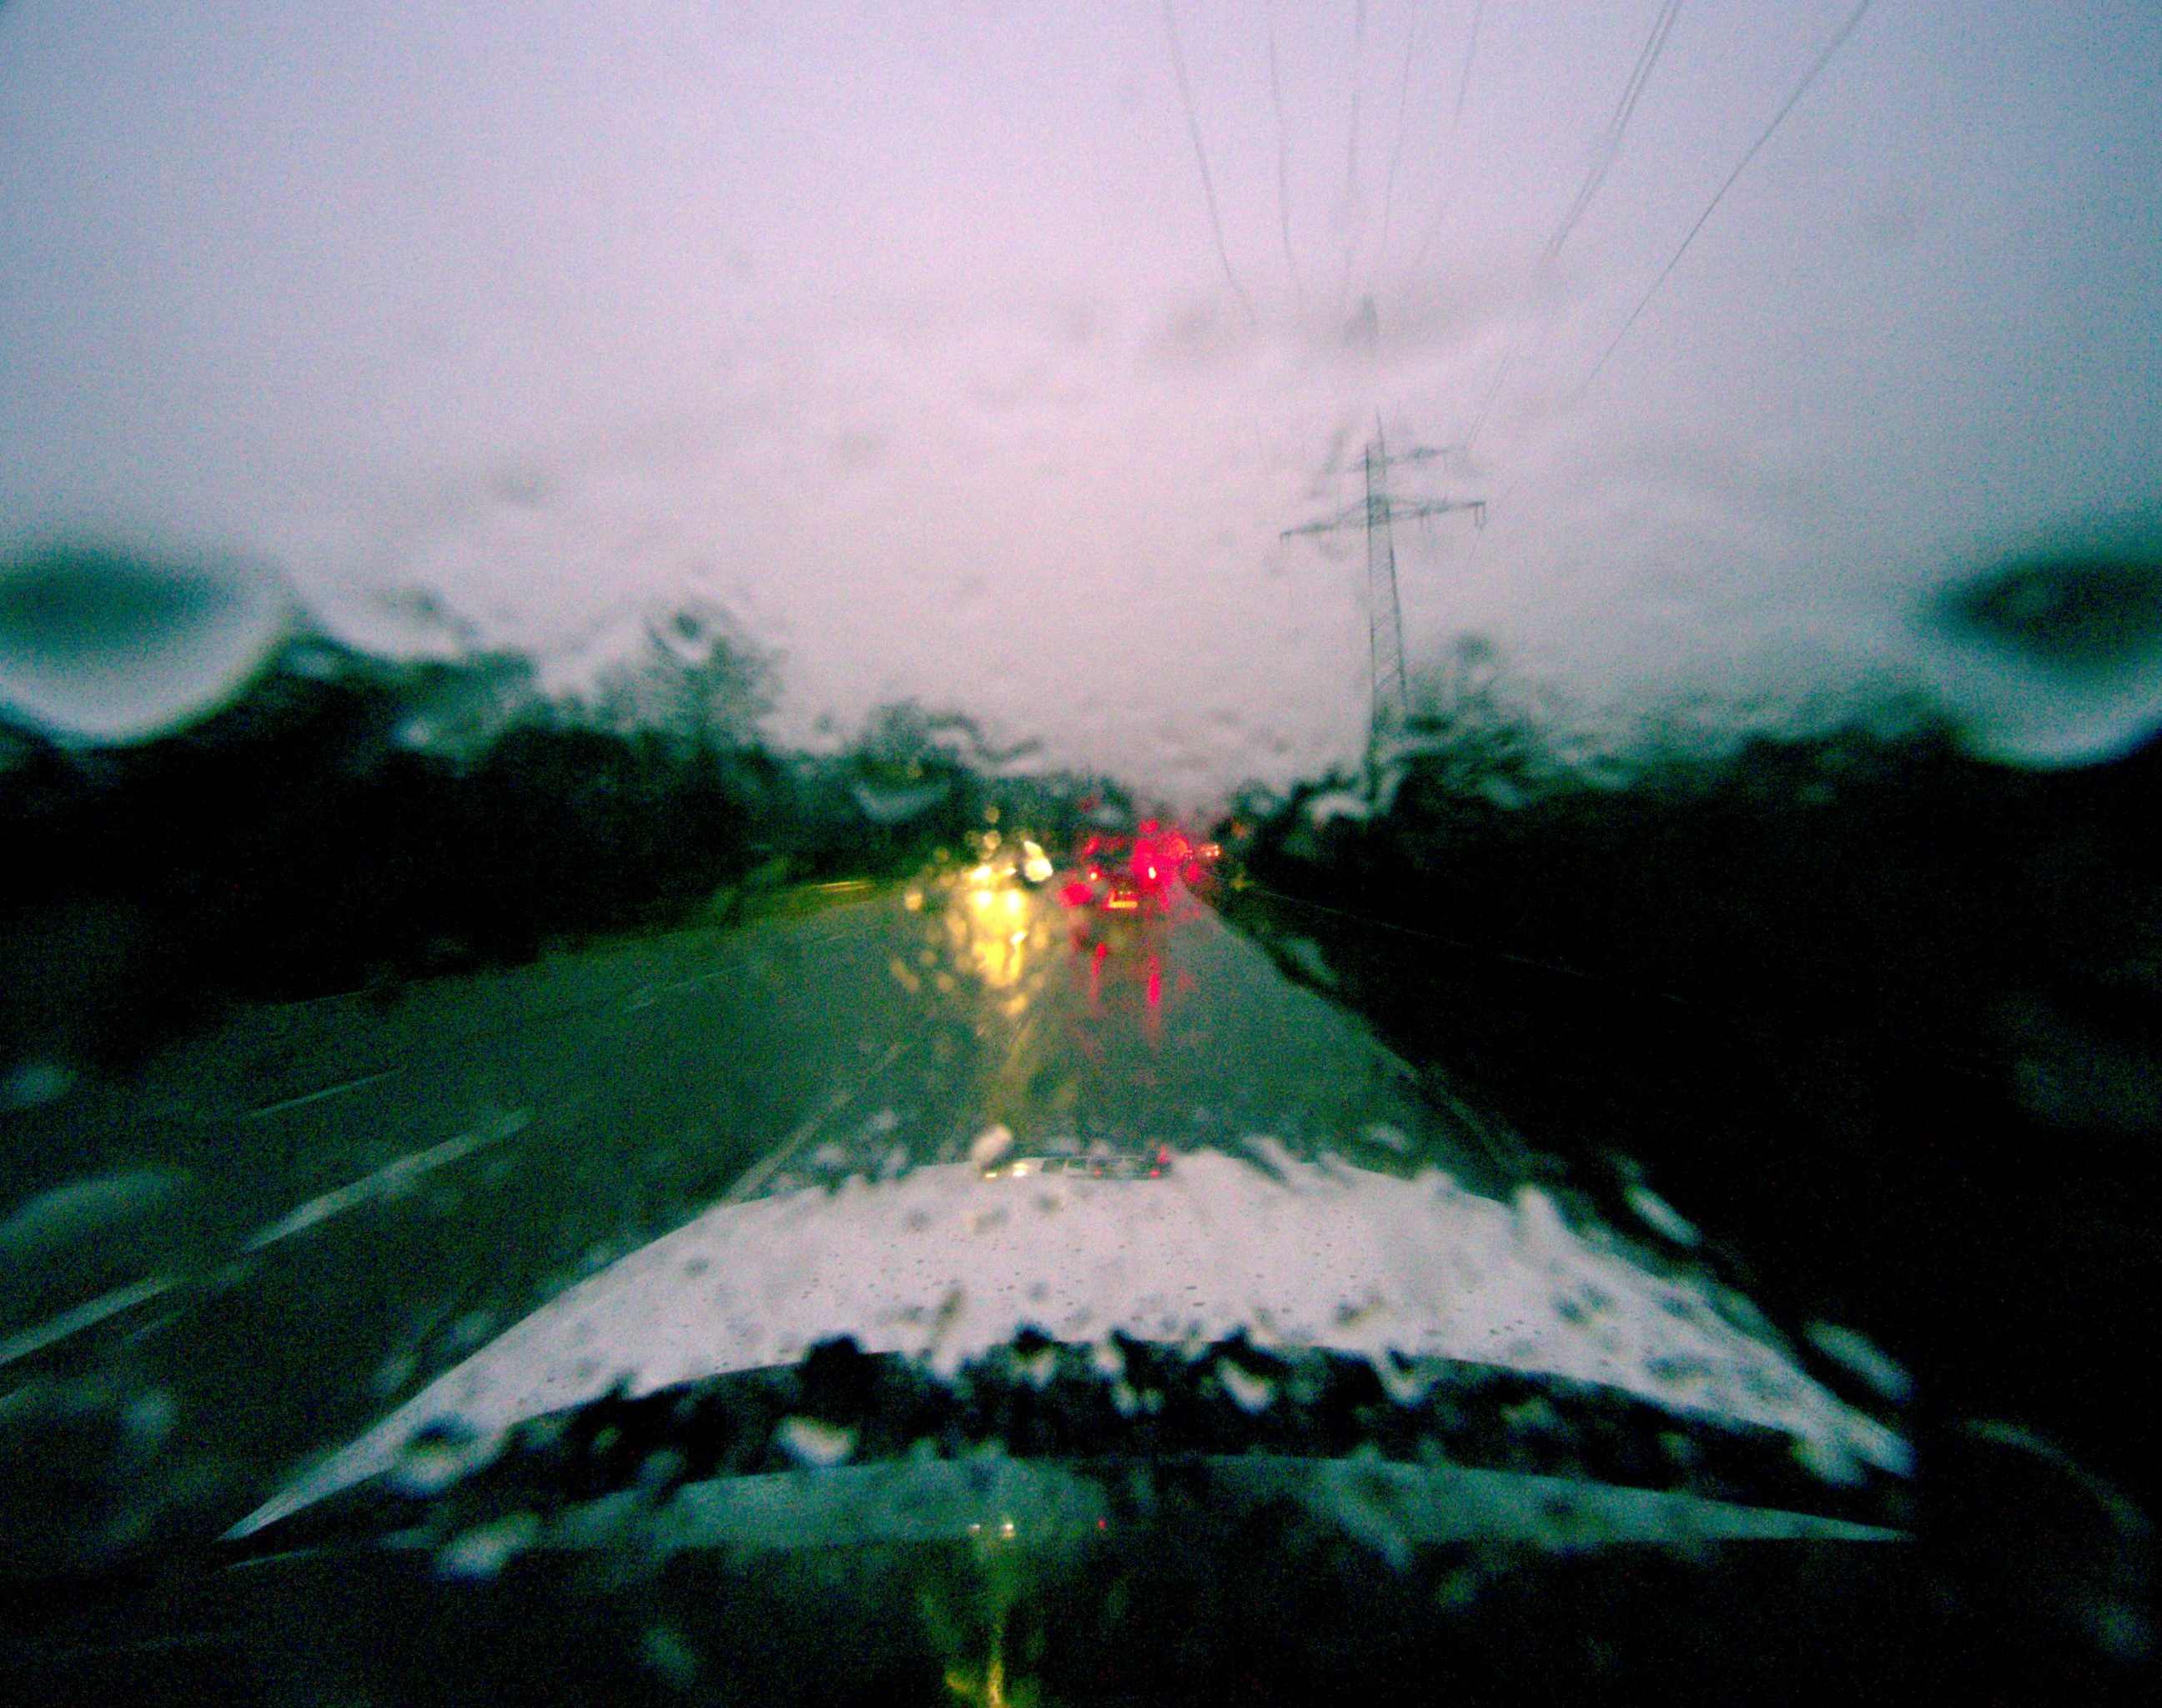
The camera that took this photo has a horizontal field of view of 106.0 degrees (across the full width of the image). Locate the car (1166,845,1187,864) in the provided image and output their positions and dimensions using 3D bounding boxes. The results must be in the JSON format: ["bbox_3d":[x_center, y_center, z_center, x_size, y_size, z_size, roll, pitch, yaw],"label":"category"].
[{"bbox_3d":[9.604,0.040,81.648,1.934,1.744,4.011,-2,2,9],"label":"car"}]

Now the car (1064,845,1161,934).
[{"bbox_3d":[0.661,0.669,17.685,1.724,1.532,4.044,-6,1,2],"label":"car"}]

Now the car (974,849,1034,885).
[{"bbox_3d":[-3.512,0.561,38.040,1.854,1.501,4.529,-2,0,6],"label":"car"}]

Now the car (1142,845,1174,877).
[{"bbox_3d":[5.525,0.532,58.697,1.938,2.013,4.003,-6,-1,3],"label":"car"}]
